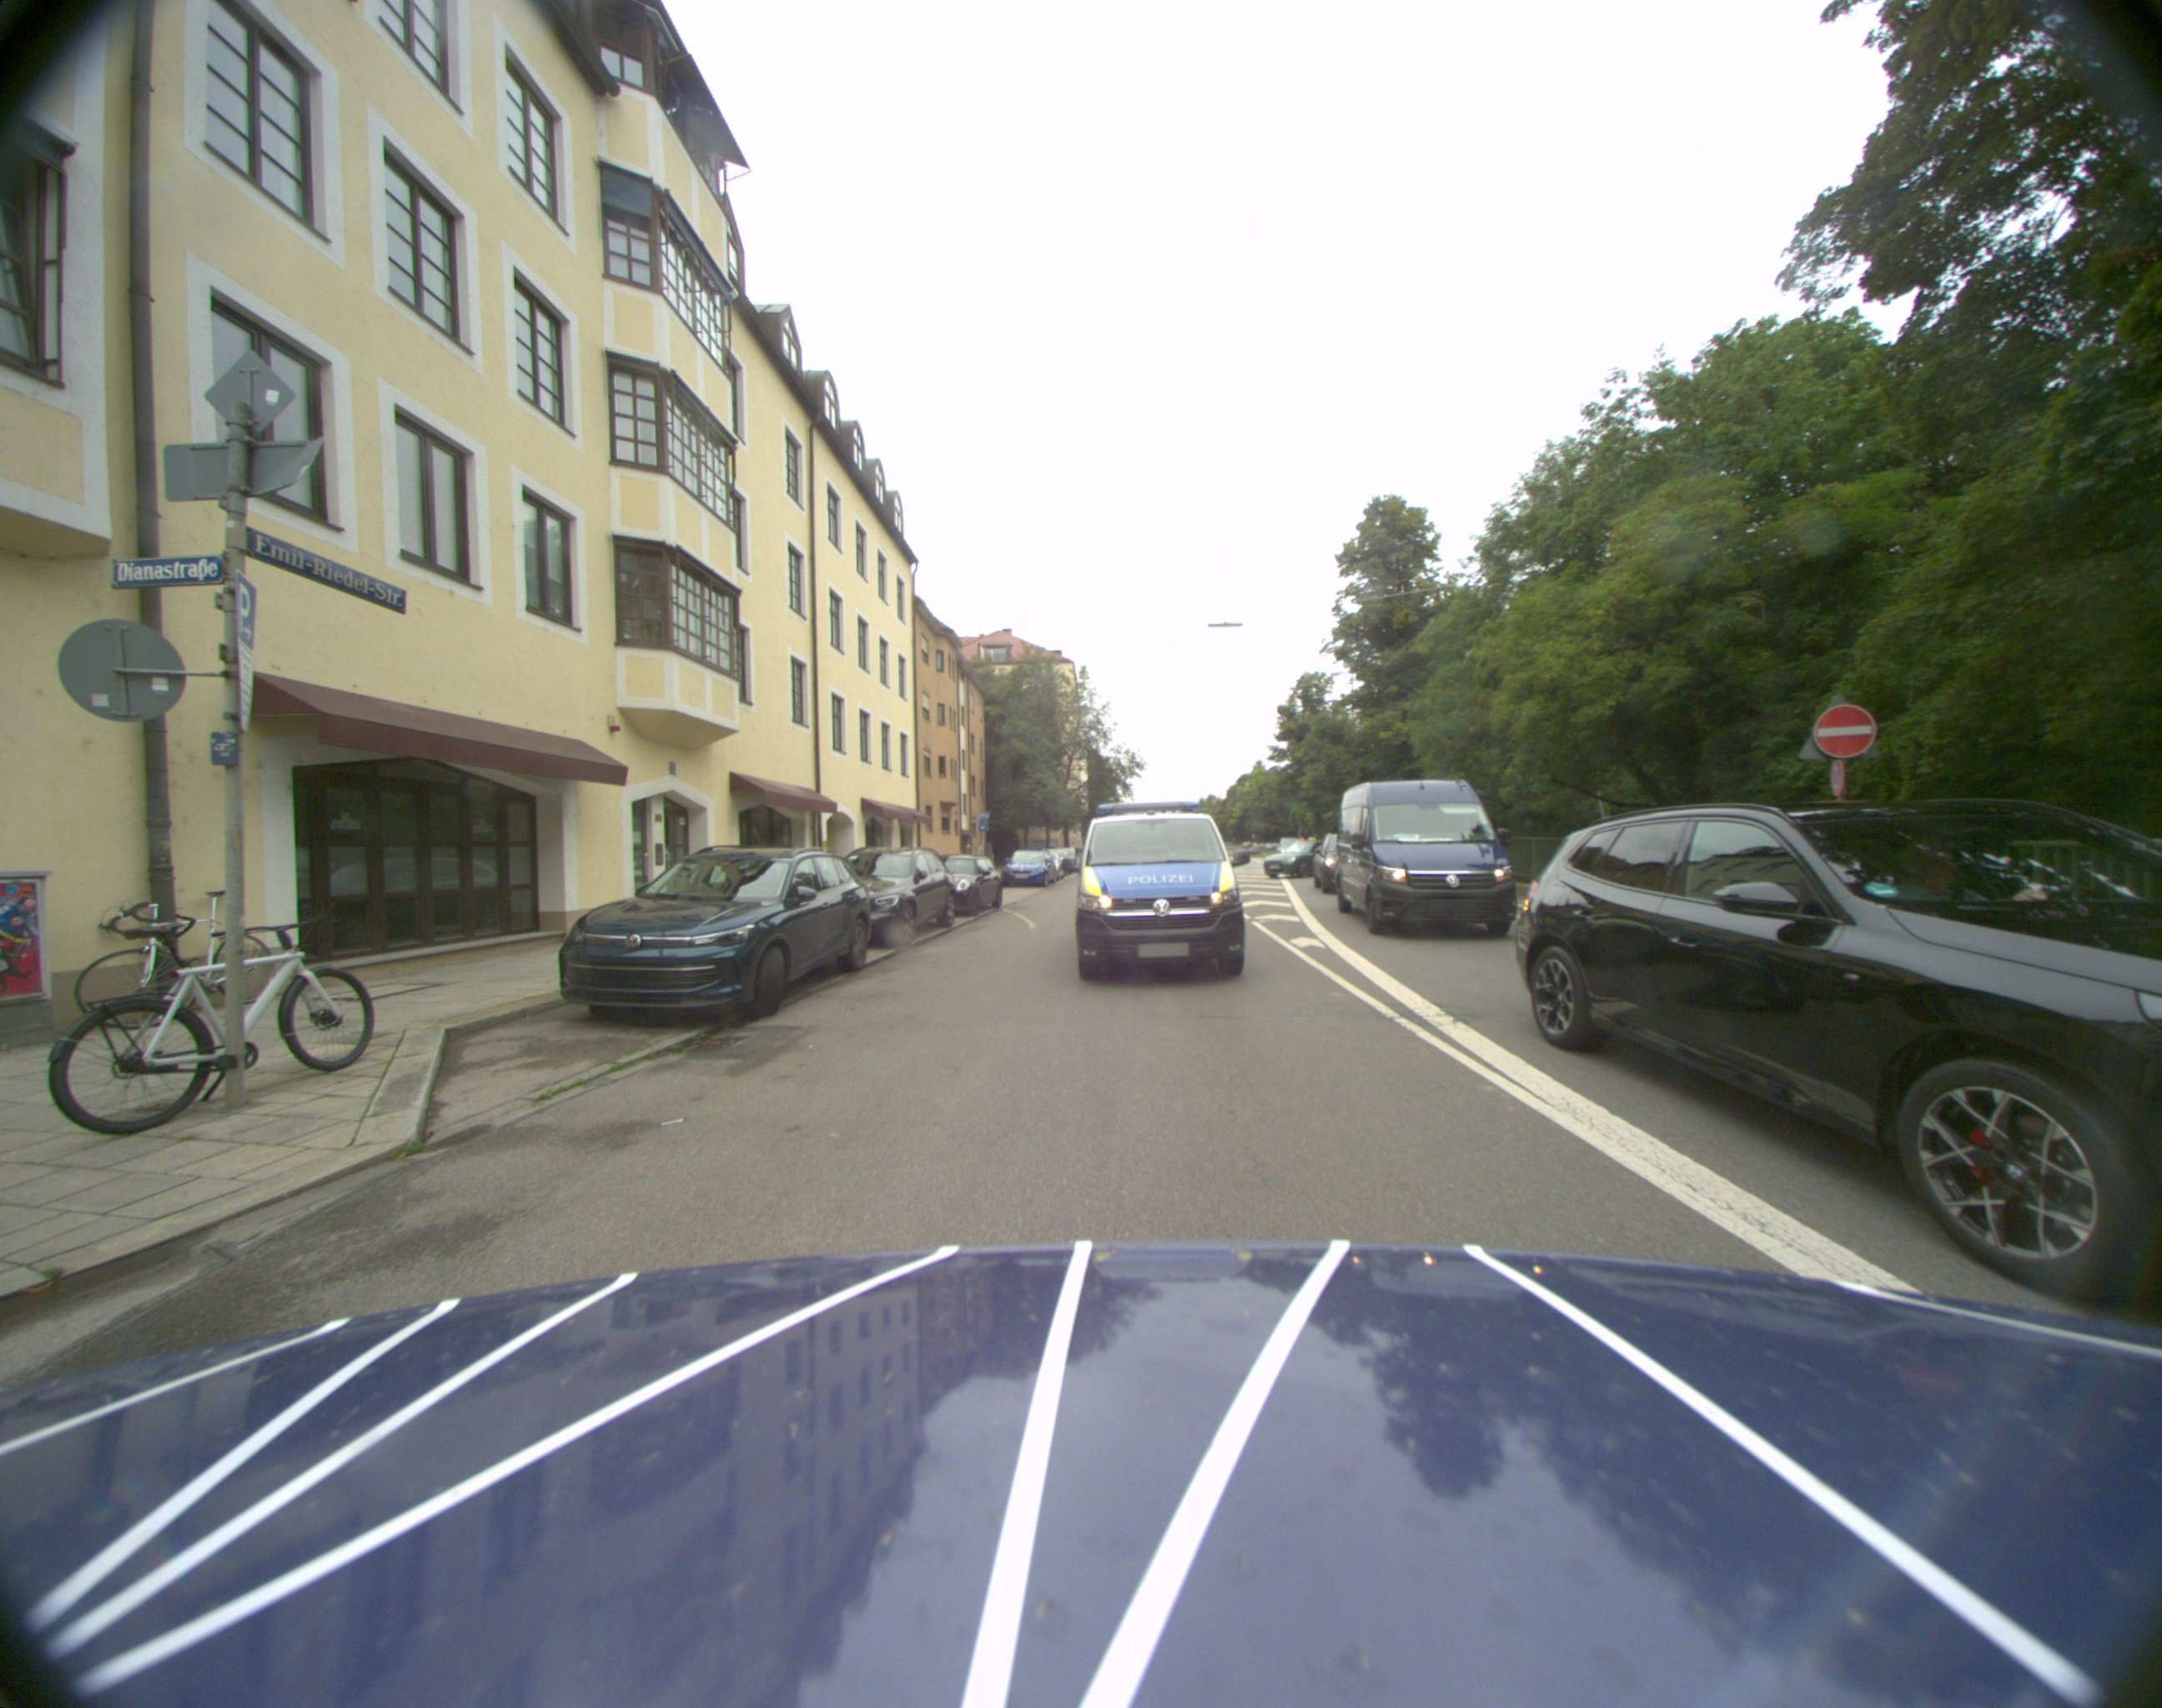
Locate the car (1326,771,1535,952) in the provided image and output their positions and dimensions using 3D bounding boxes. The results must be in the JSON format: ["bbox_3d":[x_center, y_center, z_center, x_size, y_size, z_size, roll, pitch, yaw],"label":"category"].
[{"bbox_3d":[5.837,0.030,13.658,2.004,2.477,6.236,-1,2,11],"label":"car"}]

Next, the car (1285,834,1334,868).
[{"bbox_3d":[11.871,-0.196,39.819,2.102,1.581,5.572,-3,1,13],"label":"car"}]

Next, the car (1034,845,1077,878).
[{"bbox_3d":[-1.344,0.351,41.962,1.883,1.642,4.585,-3,1,4],"label":"car"}]

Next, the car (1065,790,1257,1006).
[{"bbox_3d":[0.939,0.420,10.423,1.826,2.087,5.633,-3,1,3],"label":"car"}]

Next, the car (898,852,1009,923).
[{"bbox_3d":[-3.066,0.744,19.012,1.763,1.514,3.933,1,1,6],"label":"car"}]

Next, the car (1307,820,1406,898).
[{"bbox_3d":[7.894,0.081,22.336,2.004,1.925,5.810,-3,1,13],"label":"car"}]

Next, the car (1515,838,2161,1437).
[{"bbox_3d":[4.005,0.726,3.504,1.920,1.557,4.295,-1,2,6],"label":"car"}]

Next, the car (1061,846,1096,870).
[{"bbox_3d":[-0.136,0.217,52.047,1.882,1.474,4.300,-3,1,5],"label":"car"}]

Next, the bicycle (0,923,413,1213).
[{"bbox_3d":[-5.235,1.113,4.634,0.430,1.152,2.053,0,2,2],"label":"bicycle"}]

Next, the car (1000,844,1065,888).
[{"bbox_3d":[-1.908,0.430,31.851,1.882,1.642,5.618,0,1,5],"label":"car"}]

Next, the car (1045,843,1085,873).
[{"bbox_3d":[-0.938,0.202,46.685,1.882,1.642,4.300,-3,1,5],"label":"car"}]

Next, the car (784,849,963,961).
[{"bbox_3d":[-3.564,0.776,13.907,1.817,1.580,4.164,3,2,4],"label":"car"}]

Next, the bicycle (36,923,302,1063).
[{"bbox_3d":[-7.988,1.163,6.777,0.262,0.897,1.695,3,2,3],"label":"bicycle"}]

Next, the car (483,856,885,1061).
[{"bbox_3d":[-3.935,0.898,8.673,2.111,1.613,4.496,-1,1,1],"label":"car"}]

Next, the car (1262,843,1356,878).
[{"bbox_3d":[9.082,0.238,30.193,3.617,1.207,1.493,-2,1,-31],"label":"car"}]

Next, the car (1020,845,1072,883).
[{"bbox_3d":[-1.623,0.439,37.097,1.882,1.642,4.617,-3,1,5],"label":"car"}]

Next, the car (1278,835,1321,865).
[{"bbox_3d":[13.733,-0.295,48.106,2.313,1.719,5.219,-3,1,13],"label":"car"}]
